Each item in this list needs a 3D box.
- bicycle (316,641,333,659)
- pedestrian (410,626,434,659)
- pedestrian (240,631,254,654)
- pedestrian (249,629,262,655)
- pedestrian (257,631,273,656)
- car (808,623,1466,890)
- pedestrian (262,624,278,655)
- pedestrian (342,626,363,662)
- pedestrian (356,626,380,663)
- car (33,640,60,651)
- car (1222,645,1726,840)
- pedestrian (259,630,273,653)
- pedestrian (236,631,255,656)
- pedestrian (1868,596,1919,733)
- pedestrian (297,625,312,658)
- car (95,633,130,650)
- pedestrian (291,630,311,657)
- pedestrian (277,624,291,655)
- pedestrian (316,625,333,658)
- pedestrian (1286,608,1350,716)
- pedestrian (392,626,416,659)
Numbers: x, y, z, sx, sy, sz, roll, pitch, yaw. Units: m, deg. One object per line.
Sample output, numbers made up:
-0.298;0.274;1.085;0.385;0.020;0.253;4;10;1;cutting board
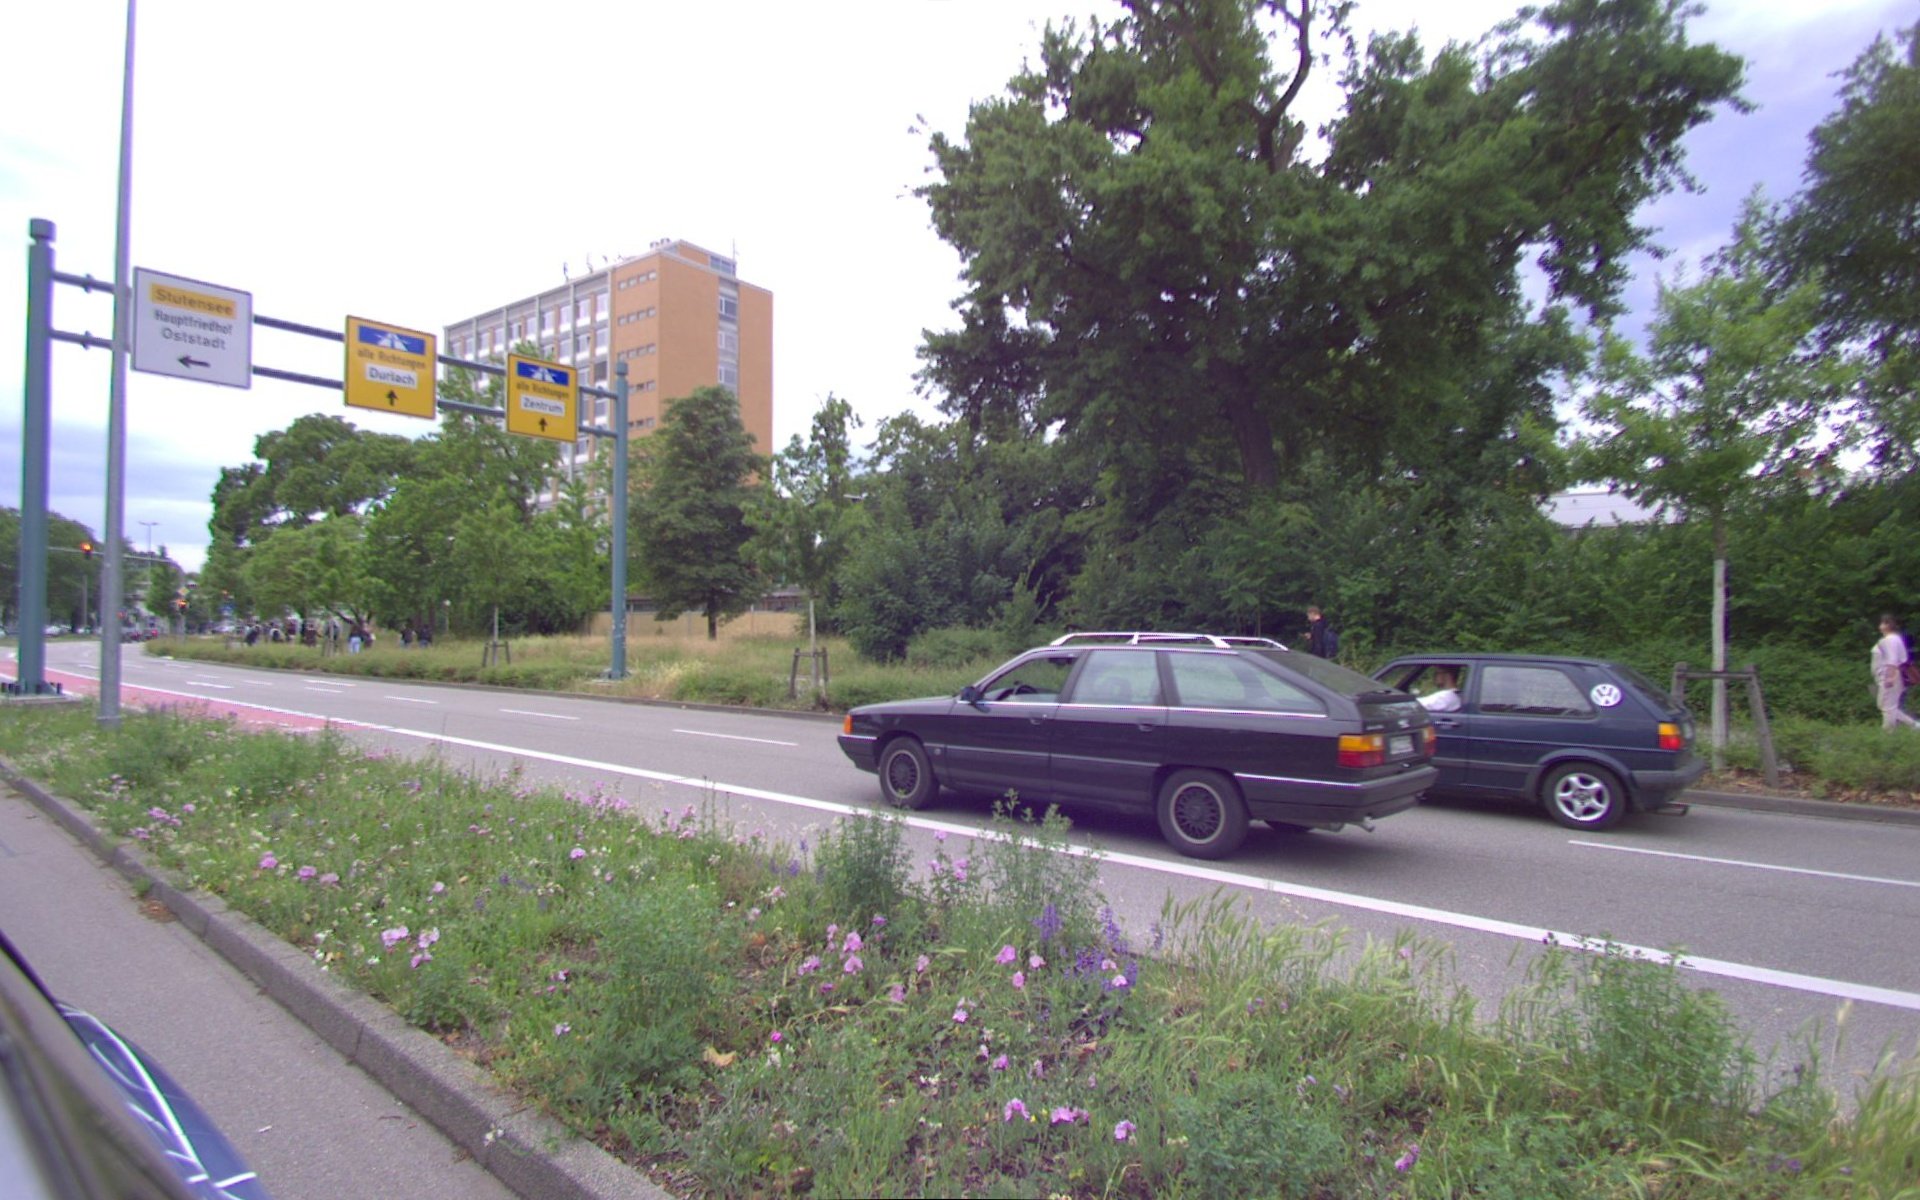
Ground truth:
-31.817;2.489;50.652;0.652;0.894;1.719;3;-4;-34;bicycle
-22.781;1.798;42.886;0.680;1.373;0.638;-2;-4;39;pedestrian
-51.701;3.088;73.369;0.943;1.683;0.698;-3;-2;44;pedestrian
-48.927;2.935;70.282;0.762;1.815;0.630;-3;-3;44;pedestrian
-42.441;2.668;61.786;0.762;1.491;0.628;-3;-4;44;pedestrian
1.102;0.947;7.834;4.787;1.471;1.746;-1;-4;40;car
-38.624;2.224;56.645;0.613;1.708;0.748;3;-4;-38;pedestrian
-28.310;2.069;47.165;0.719;1.673;0.580;-2;-4;35;pedestrian
-27.898;2.103;47.696;0.766;1.685;0.700;-2;-4;35;pedestrian
-111.017;5.528;122.983;1.756;1.271;3.541;0;-1;-31;car
4.498;1.122;9.201;3.807;1.391;1.591;-2;-4;41;car
-50.989;3.054;74.339;0.890;1.683;0.698;-2;-2;44;pedestrian
-43.172;2.628;61.154;0.813;1.491;0.720;-3;-4;44;pedestrian
11.736;0.790;12.528;0.671;1.648;0.693;-2;-4;41;pedestrian
-32.416;2.055;50.066;0.567;1.621;0.618;3;-4;-33;pedestrian
-85.704;4.170;102.389;1.785;1.680;3.962;2;-2;-27;car
-40.128;2.627;61.655;0.823;1.625;0.631;-2;-1;19;pedestrian
-38.188;2.257;57.202;0.571;1.725;0.763;3;-4;-35;pedestrian
-31.813;2.080;50.674;0.652;1.644;0.765;3;-4;-34;pedestrian
5.947;1.024;16.822;0.818;1.742;0.613;-2;-4;41;pedestrian
-23.245;1.778;42.306;0.711;1.368;0.638;-2;-4;40;pedestrian
